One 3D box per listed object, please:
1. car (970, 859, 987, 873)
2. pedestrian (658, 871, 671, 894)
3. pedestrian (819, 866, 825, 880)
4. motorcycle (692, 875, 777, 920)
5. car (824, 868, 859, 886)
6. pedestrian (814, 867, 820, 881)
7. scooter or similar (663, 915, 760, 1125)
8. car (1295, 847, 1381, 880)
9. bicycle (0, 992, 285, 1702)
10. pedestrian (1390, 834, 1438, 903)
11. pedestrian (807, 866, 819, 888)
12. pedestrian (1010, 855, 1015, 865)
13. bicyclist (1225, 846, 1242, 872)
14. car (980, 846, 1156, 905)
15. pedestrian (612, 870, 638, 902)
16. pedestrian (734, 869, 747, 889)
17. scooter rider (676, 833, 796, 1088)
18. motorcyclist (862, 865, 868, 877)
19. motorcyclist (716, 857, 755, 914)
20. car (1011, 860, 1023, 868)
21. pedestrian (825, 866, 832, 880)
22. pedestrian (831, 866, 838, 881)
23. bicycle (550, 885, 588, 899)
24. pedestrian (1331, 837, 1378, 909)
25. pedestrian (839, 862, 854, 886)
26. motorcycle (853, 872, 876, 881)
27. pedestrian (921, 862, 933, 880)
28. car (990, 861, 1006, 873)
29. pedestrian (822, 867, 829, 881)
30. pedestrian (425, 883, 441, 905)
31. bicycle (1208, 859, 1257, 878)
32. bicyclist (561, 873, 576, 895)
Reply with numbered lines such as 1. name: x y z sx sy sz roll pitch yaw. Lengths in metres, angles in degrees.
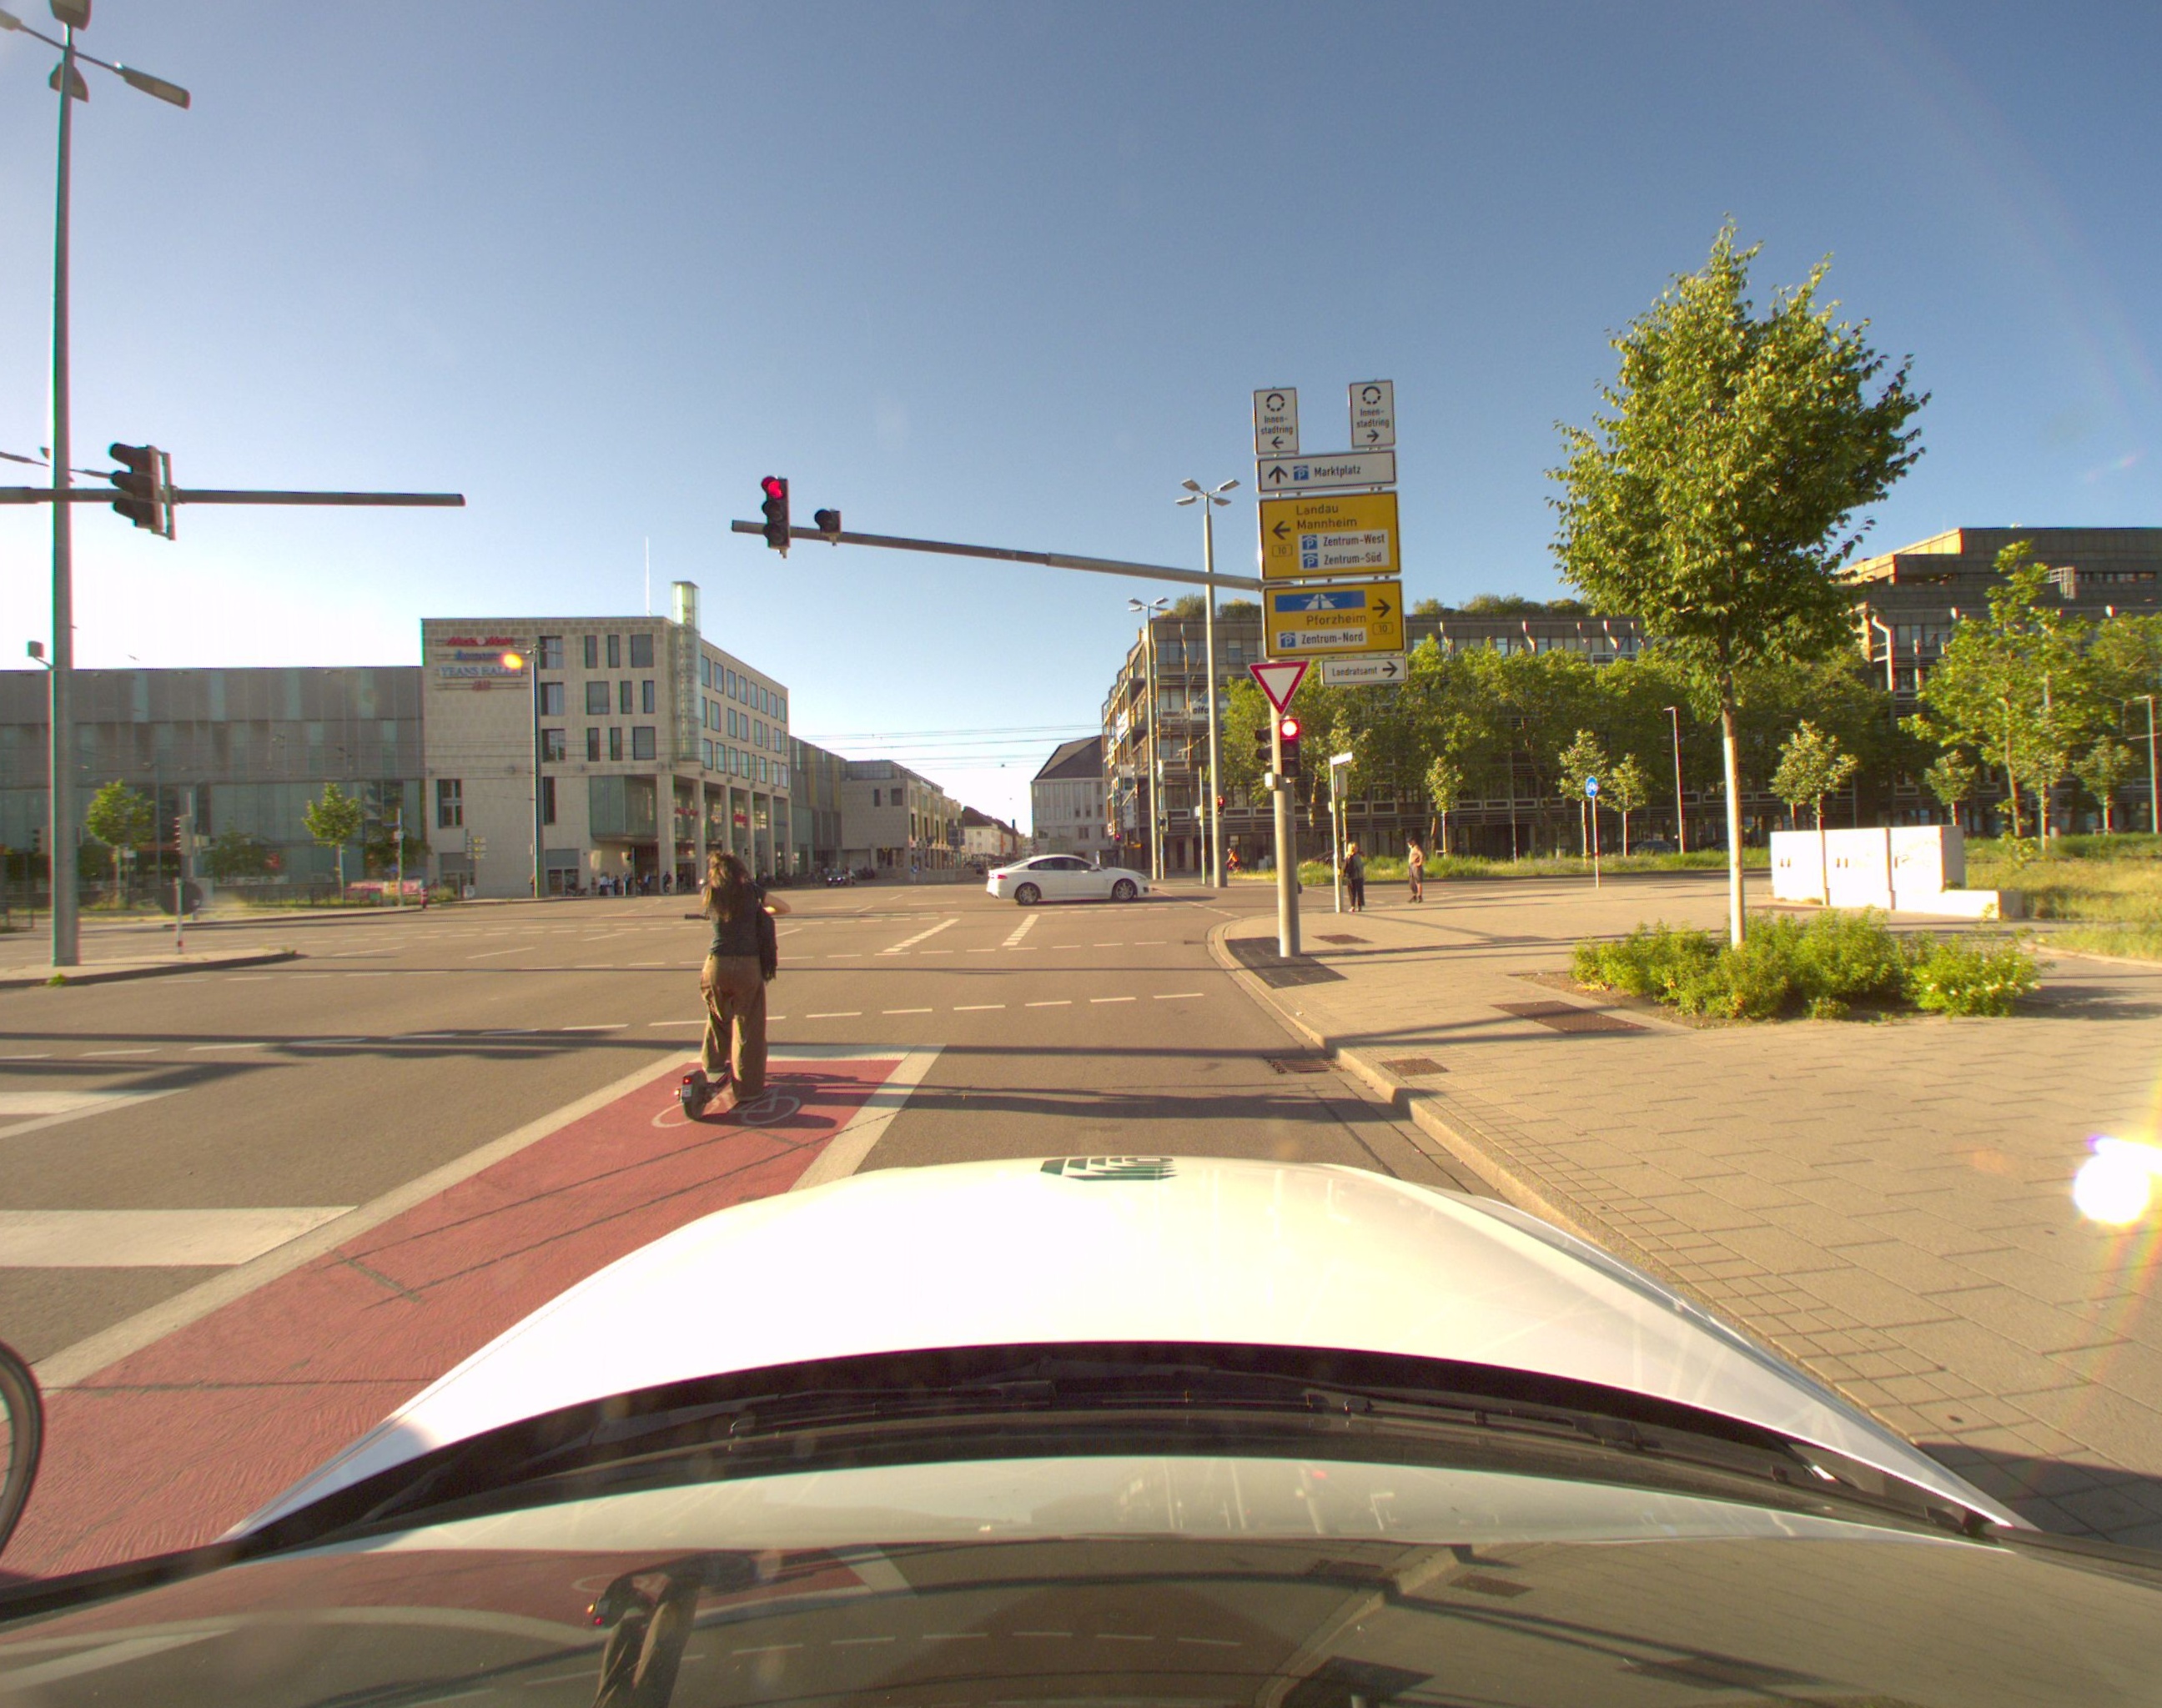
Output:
1. car: -12.609 1.464 100.511 1.816 1.684 3.993 -2 0 -5
2. pedestrian: -30.837 2.089 60.315 0.590 1.646 0.629 -2 0 1
3. pedestrian: -32.183 2.410 101.075 0.465 1.729 0.524 -1 -1 40
4. motorcycle: -9.230 1.144 21.750 1.952 1.100 0.648 -2 0 -6
5. car: -20.689 1.964 70.486 1.670 1.357 4.021 -2 0 1
6. pedestrian: -32.270 2.398 99.543 0.465 1.729 0.524 -1 -1 40
7. scooter or similar: -2.239 0.961 4.995 0.306 1.107 0.835 -2 0 -9
8. car: 14.550 0.528 46.214 4.287 1.684 1.820 -2 0 -9
9. bicycle: -2.274 0.909 0.964 0.736 1.147 1.891 -2 0 2
10. pedestrian: 8.576 0.366 21.028 0.869 1.706 0.768 -2 0 0
11. pedestrian: -21.013 1.768 63.907 0.697 1.688 0.620 -2 0 2
12. pedestrian: -13.902 1.197 165.259 0.907 1.965 0.823 0 -1 1
13. bicyclist: 8.824 0.307 47.069 0.820 1.474 0.652 -2 0 -2
14. car: -0.457 0.618 24.881 5.084 1.564 1.993 -2 0 -11
15. pedestrian: -25.120 1.766 44.908 0.821 1.675 1.004 -2 0 -2
16. pedestrian: -29.502 2.180 70.542 0.771 1.638 0.628 -2 0 12
17. scooter rider: -2.186 0.645 5.205 0.552 1.530 0.448 -2 0 -7
18. motorcyclist: -26.307 2.100 99.142 0.627 1.406 0.661 0 -1 -7
19. motorcyclist: -9.221 0.835 21.753 0.748 1.479 0.598 -2 0 -6
20. car: -11.468 1.795 146.387 1.652 1.458 3.543 -2 0 2
21. pedestrian: -31.236 2.401 100.866 0.465 1.729 0.632 -1 -1 30
22. pedestrian: -29.935 2.376 98.966 0.465 1.729 0.699 -1 -1 40
23. bicycle: -34.397 2.550 54.737 2.200 0.903 0.638 -2 0 5
24. pedestrian: 6.337 0.433 18.891 0.763 1.614 0.874 -2 0 0
25. pedestrian: -18.590 1.620 64.637 0.935 1.864 0.541 -2 0 18
26. motorcycle: -26.263 2.721 98.929 2.600 0.993 1.113 0 -1 -8
27. pedestrian: -15.269 1.688 80.832 0.896 1.782 0.809 -2 0 1
28. car: -11.016 1.754 108.525 1.652 1.458 3.543 -2 0 2
29. pedestrian: -30.839 2.376 98.161 0.465 1.729 0.632 -1 -1 35
30. pedestrian: -46.430 2.860 58.344 0.590 1.541 0.629 -2 0 1
31. bicycle: 8.737 0.818 47.054 2.561 0.975 1.047 -2 0 -1
32. bicyclist: -34.465 2.032 54.779 0.584 1.448 0.629 -2 0 5
